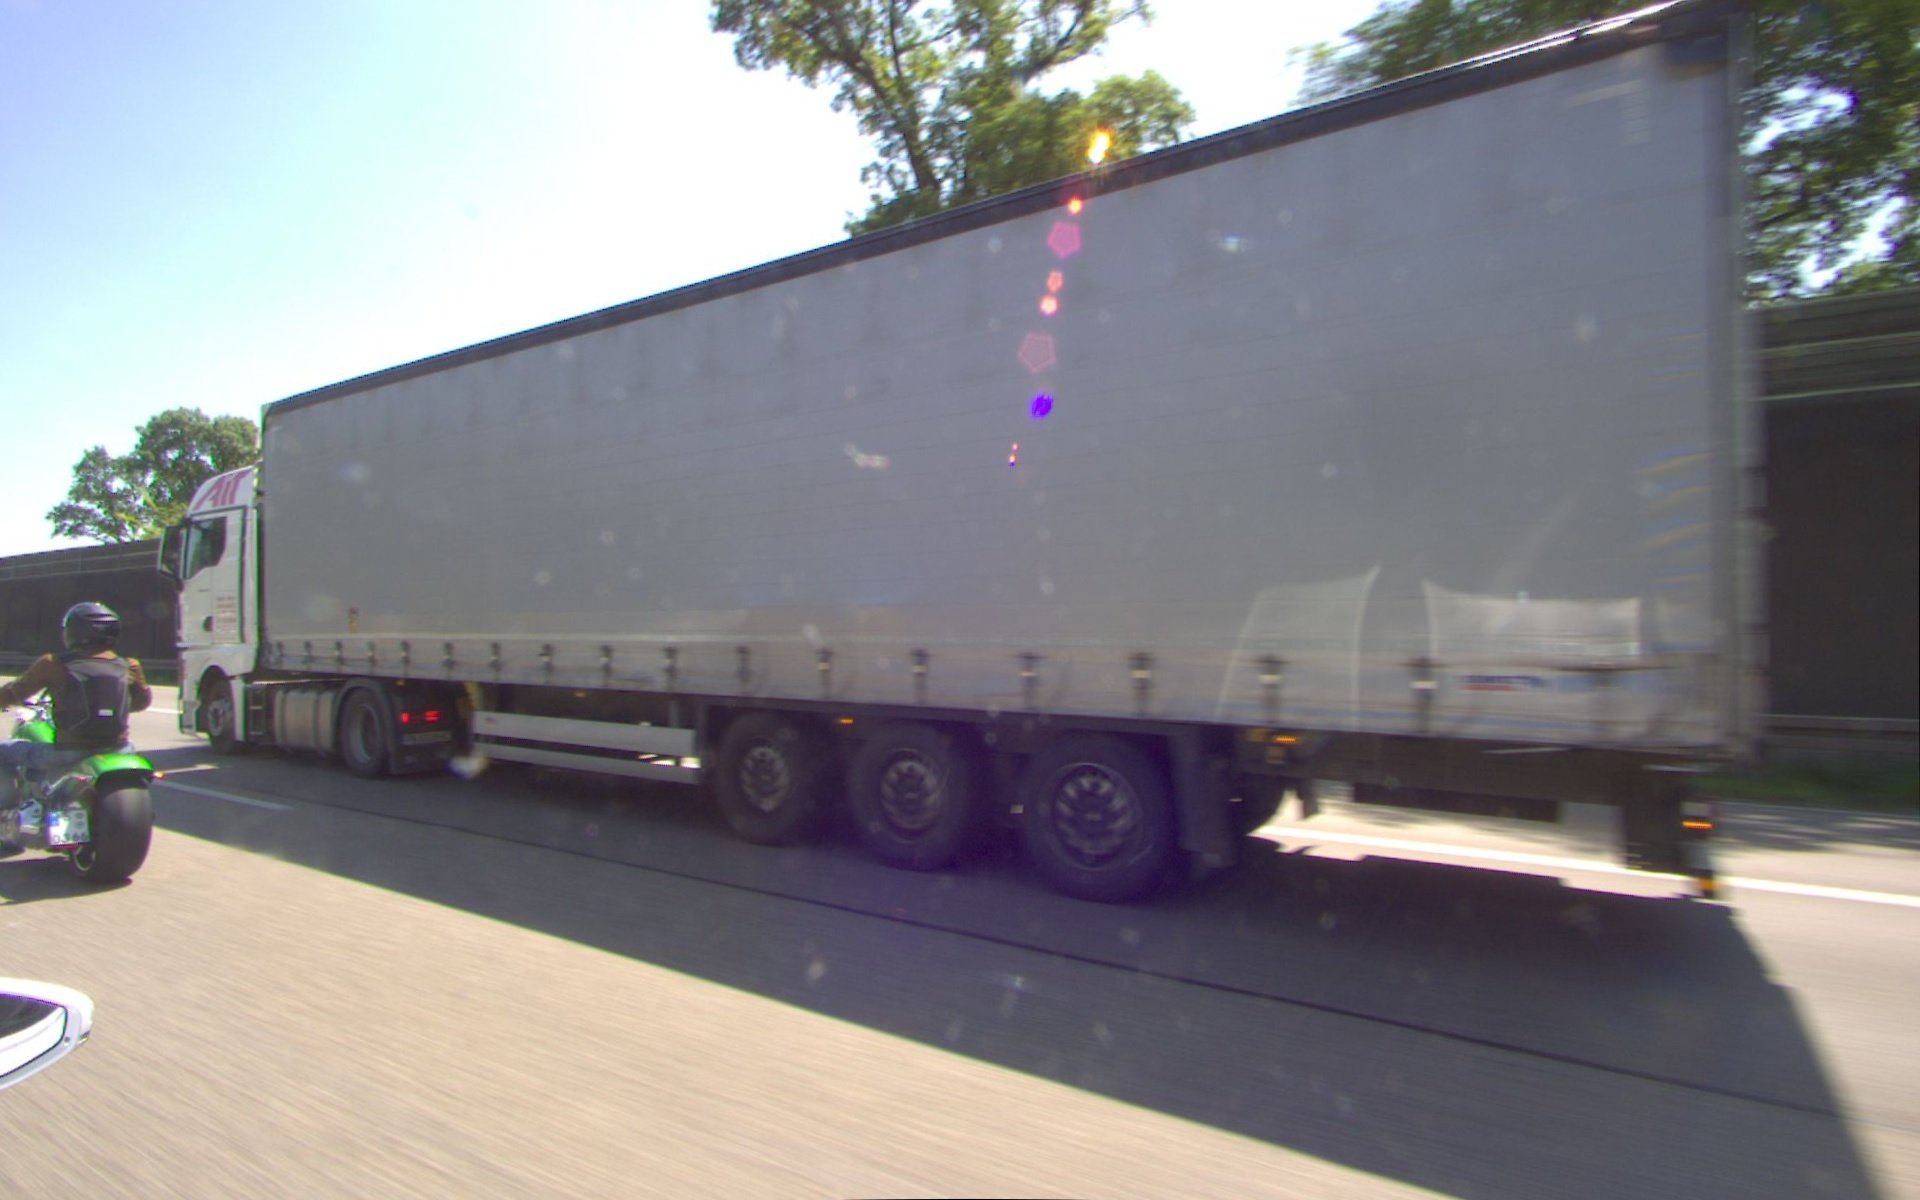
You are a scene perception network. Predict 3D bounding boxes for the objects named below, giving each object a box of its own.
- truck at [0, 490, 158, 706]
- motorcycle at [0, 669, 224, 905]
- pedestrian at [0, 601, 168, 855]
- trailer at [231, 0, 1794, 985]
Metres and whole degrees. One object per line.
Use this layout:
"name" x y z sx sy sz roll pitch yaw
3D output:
"truck" -20.001 0.066 21.630 5.476 4.142 2.593 -1 -2 33
"motorcycle" -5.697 1.077 6.381 2.244 1.197 0.858 -1 -2 33
"pedestrian" -5.733 0.774 6.411 0.629 1.497 0.850 0 -2 32
"trailer" -1.789 -0.417 8.569 13.402 4.142 2.593 -2 -2 33
